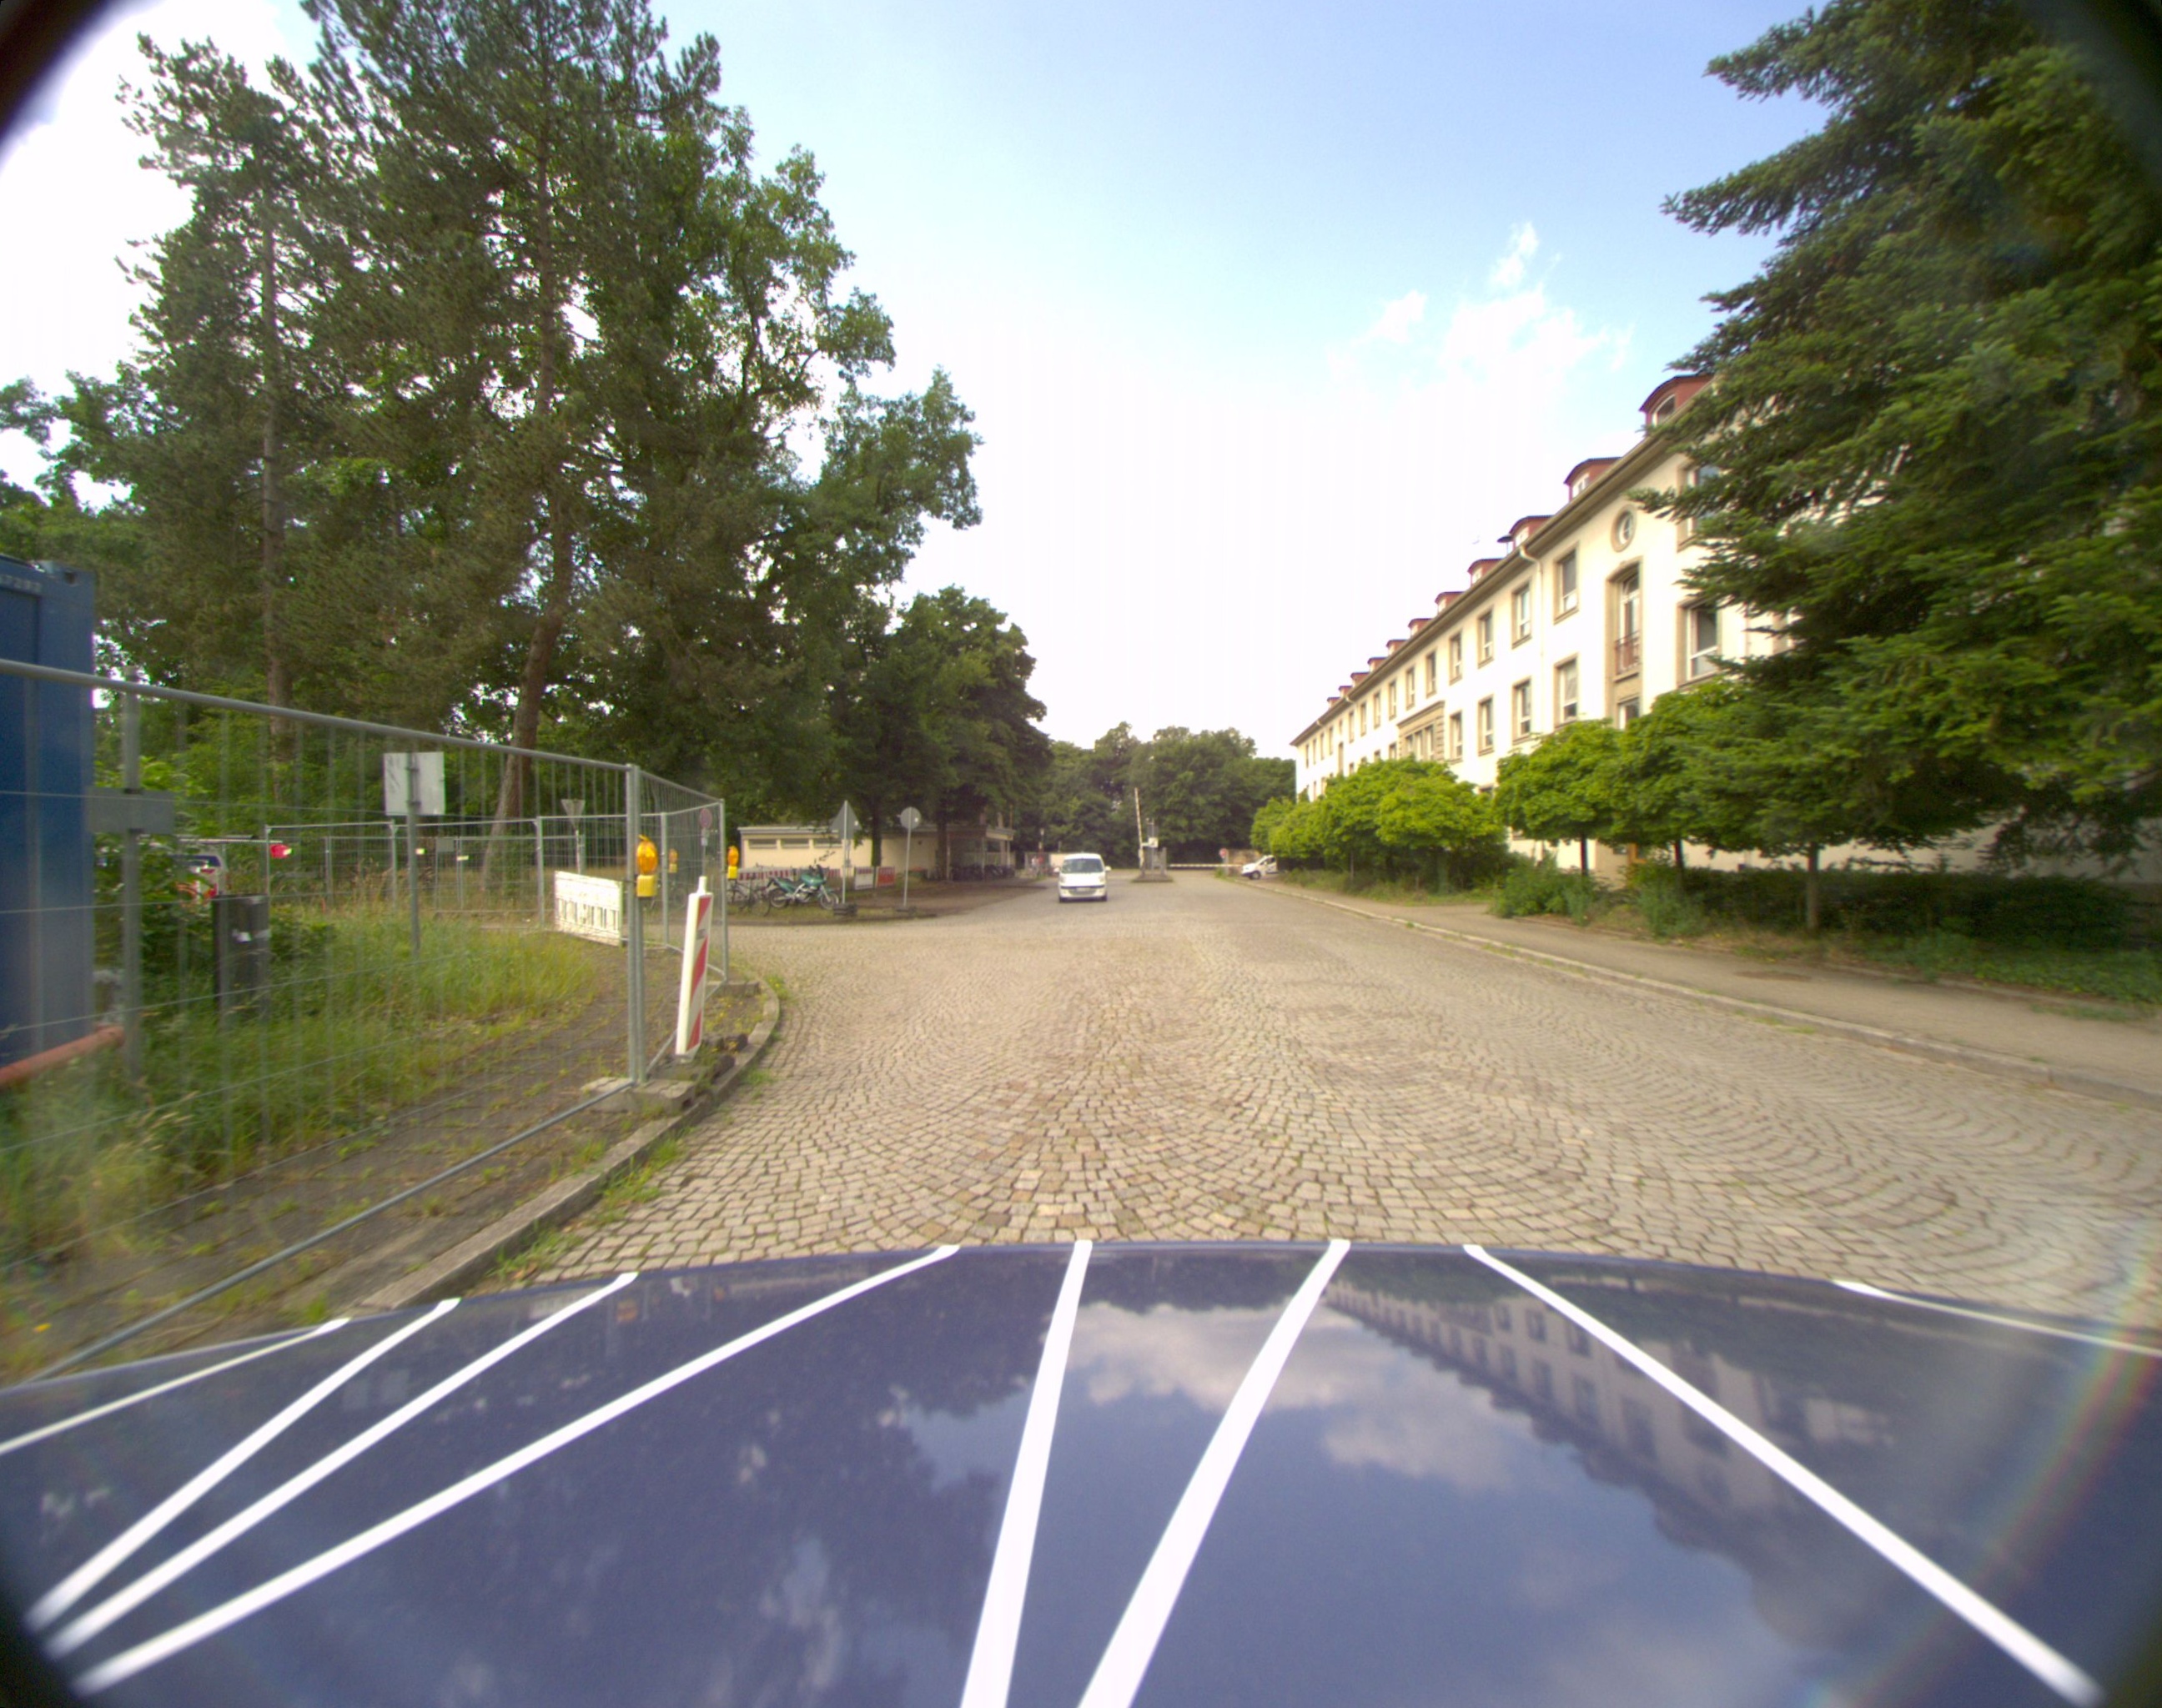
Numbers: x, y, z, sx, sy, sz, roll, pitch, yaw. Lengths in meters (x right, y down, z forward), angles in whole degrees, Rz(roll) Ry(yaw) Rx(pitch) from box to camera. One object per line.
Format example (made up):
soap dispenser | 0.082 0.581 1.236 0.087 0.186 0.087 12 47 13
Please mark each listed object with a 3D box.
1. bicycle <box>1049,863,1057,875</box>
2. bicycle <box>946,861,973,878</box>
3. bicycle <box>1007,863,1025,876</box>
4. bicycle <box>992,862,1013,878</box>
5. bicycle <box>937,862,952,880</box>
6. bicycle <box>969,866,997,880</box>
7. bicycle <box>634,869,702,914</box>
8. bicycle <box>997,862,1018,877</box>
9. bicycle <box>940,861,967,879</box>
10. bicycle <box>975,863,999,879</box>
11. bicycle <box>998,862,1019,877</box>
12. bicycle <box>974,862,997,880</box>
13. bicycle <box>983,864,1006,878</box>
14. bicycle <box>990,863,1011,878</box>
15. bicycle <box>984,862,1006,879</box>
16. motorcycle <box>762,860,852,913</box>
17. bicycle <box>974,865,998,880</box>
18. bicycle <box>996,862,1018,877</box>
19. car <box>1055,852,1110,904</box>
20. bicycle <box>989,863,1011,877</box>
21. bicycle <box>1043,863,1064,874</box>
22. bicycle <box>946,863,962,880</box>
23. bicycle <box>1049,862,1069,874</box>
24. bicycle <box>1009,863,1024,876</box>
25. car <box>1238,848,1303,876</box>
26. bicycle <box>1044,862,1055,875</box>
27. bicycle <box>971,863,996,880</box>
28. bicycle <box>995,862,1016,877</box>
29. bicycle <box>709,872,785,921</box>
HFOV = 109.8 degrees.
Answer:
bicycle | -2.475 1.305 66.291 0.474 1.051 1.733 0 0 5
bicycle | -8.552 1.092 53.394 1.745 1.158 0.608 1 0 1
bicycle | -5.211 1.268 61.332 1.407 1.039 0.338 -1 0 -22
bicycle | -6.015 1.232 58.328 1.617 1.134 0.325 1 0 -3
bicycle | -8.858 1.104 49.289 0.598 1.110 1.635 1 0 4
bicycle | -6.796 1.307 52.655 1.749 0.970 0.757 1 0 -25
bicycle | -11.240 0.996 20.754 0.643 1.162 1.906 0 -1 7
bicycle | -5.738 1.227 59.138 1.617 1.134 0.325 1 0 -3
bicycle | -8.772 1.098 52.380 1.745 1.158 0.608 1 0 1
bicycle | -6.771 1.223 54.663 1.635 1.183 0.419 1 0 -8
bicycle | -5.726 1.237 60.307 1.617 1.134 0.356 1 0 -3
bicycle | -6.810 1.206 54.082 1.635 1.183 0.473 1 0 -9
bicycle | -6.438 1.270 56.704 1.635 1.044 0.334 1 0 -10
bicycle | -6.108 1.234 57.662 1.595 1.134 0.325 1 0 -3
bicycle | -6.357 1.210 56.050 1.635 1.183 0.499 1 0 -8
motorcycle | -7.827 0.913 21.763 2.282 1.476 0.757 0 0 0
bicycle | -6.699 1.307 53.440 1.637 0.970 0.322 1 0 -25
bicycle | -5.804 1.241 59.613 1.617 1.134 0.356 1 0 -3
car | 0.134 0.865 28.972 1.866 1.749 4.150 -2 0 2
bicycle | -6.126 1.225 57.225 1.595 1.044 0.325 1 0 -3
bicycle | -2.497 1.310 68.633 1.867 0.934 0.504 1 0 0
bicycle | -8.228 1.118 49.241 0.598 1.110 1.635 1 0 4
bicycle | -1.992 1.281 69.285 1.729 1.027 0.387 1 0 6
bicycle | -5.164 1.260 60.879 1.154 1.056 0.287 -1 0 -16
car | 14.060 0.604 56.445 4.311 1.795 1.821 -3 1 3
bicycle | -2.632 1.209 63.866 0.691 1.055 1.566 0 0 5
bicycle | -6.635 1.215 51.814 1.681 1.102 0.338 1 0 -9
bicycle | -5.825 1.230 58.759 1.617 1.134 0.325 1 0 -3
bicycle | -8.523 1.056 19.379 1.900 1.190 0.657 0 0 24
